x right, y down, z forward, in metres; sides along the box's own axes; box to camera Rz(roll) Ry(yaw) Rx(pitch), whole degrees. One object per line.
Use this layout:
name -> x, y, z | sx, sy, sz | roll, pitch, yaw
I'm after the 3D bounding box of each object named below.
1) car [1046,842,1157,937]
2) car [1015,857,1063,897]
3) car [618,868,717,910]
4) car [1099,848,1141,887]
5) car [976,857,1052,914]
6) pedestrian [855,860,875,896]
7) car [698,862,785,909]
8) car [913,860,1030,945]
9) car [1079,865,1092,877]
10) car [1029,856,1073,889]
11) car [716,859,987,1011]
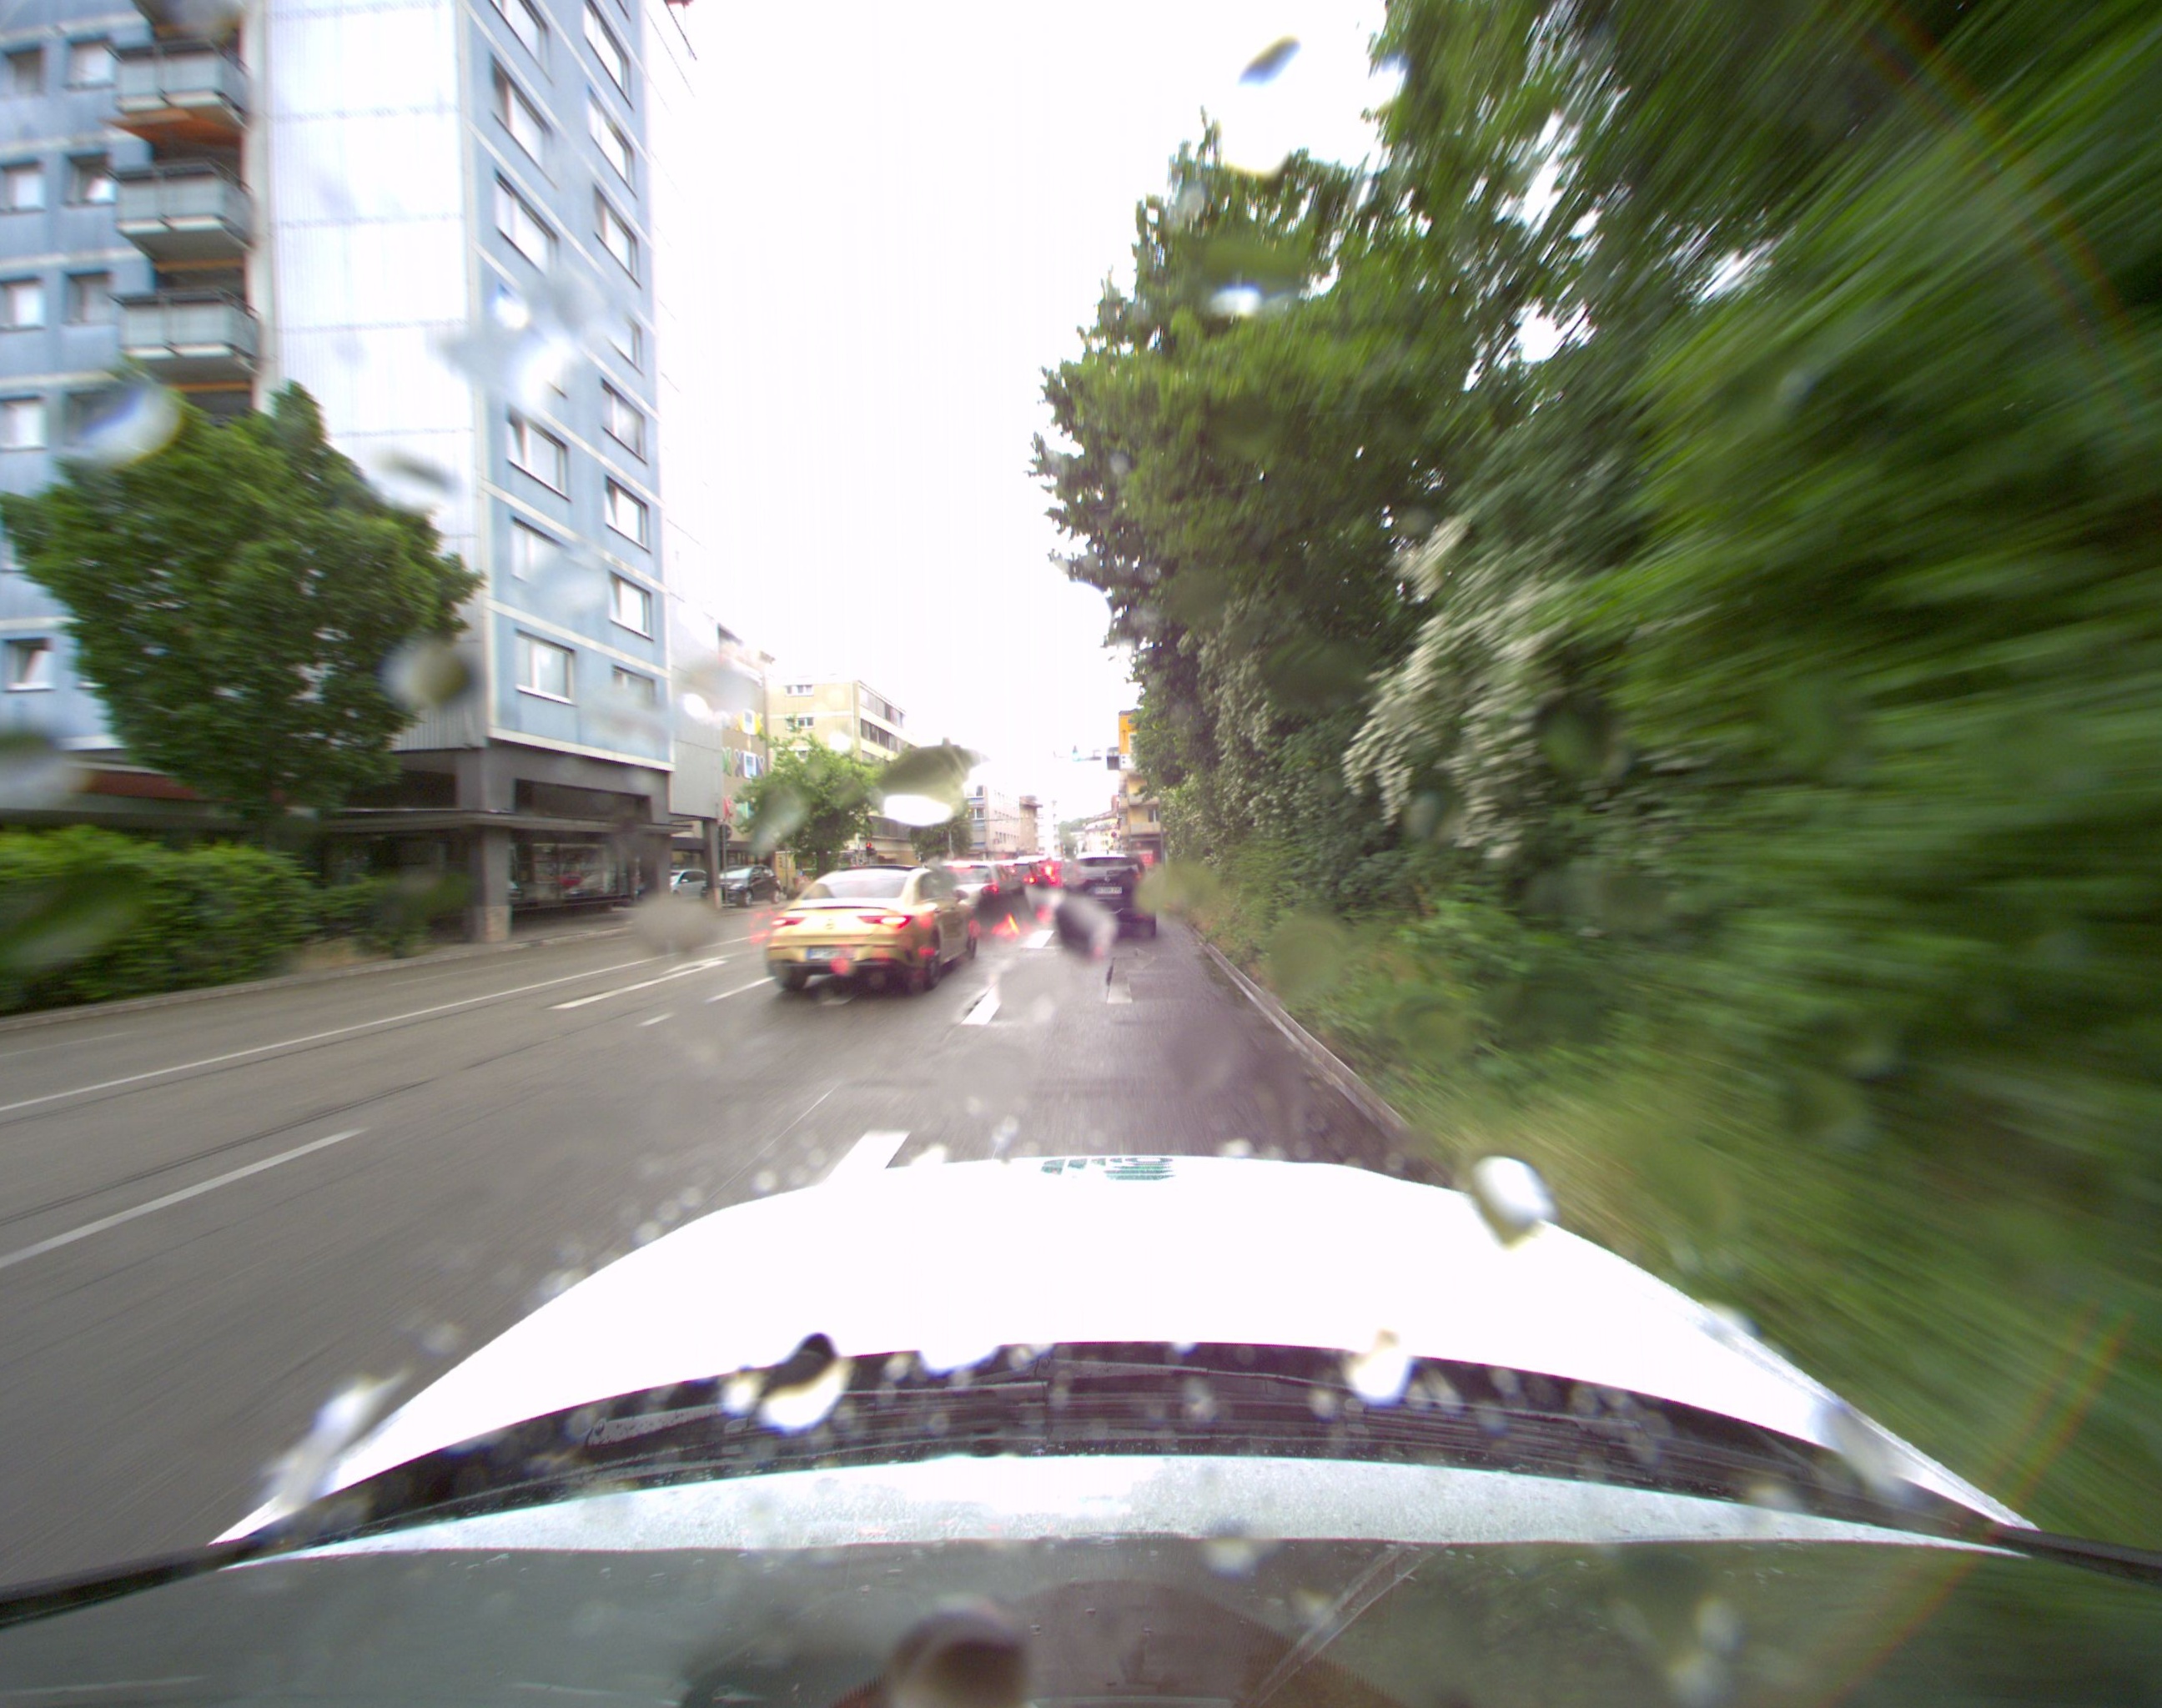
car -> 0.402, 0.630, 16.597 | 1.953, 1.653, 4.000 | -1, 0, 1
car -> -1.606, 0.879, 32.286 | 1.607, 1.420, 3.967 | -2, 0, 1
car -> -18.375, 1.495, 36.431 | 1.986, 1.655, 4.512 | -2, 0, 1
car -> 2.233, 0.713, 45.956 | 1.983, 2.013, 4.008 | -3, 0, 7
car -> -1.937, 0.882, 24.487 | 1.749, 1.453, 4.002 | -3, 0, 2
pedestrian -> -12.799, 1.414, 48.297 | 0.939, 2.013, 0.884 | -4, -1, -7
car -> -13.640, 1.228, 33.012 | 1.533, 1.706, 4.289 | -1, 0, 2
car -> -2.186, 0.916, 17.333 | 1.737, 1.487, 4.163 | -3, 0, 2
car -> 0.841, 3.033, 146.104 | 1.985, 2.013, 4.004 | -4, 0, 3
car -> -1.390, 0.847, 39.203 | 1.760, 1.444, 4.002 | -3, 0, 2
car -> -2.672, 0.866, 10.811 | 2.058, 1.464, 4.589 | -2, 0, 2
